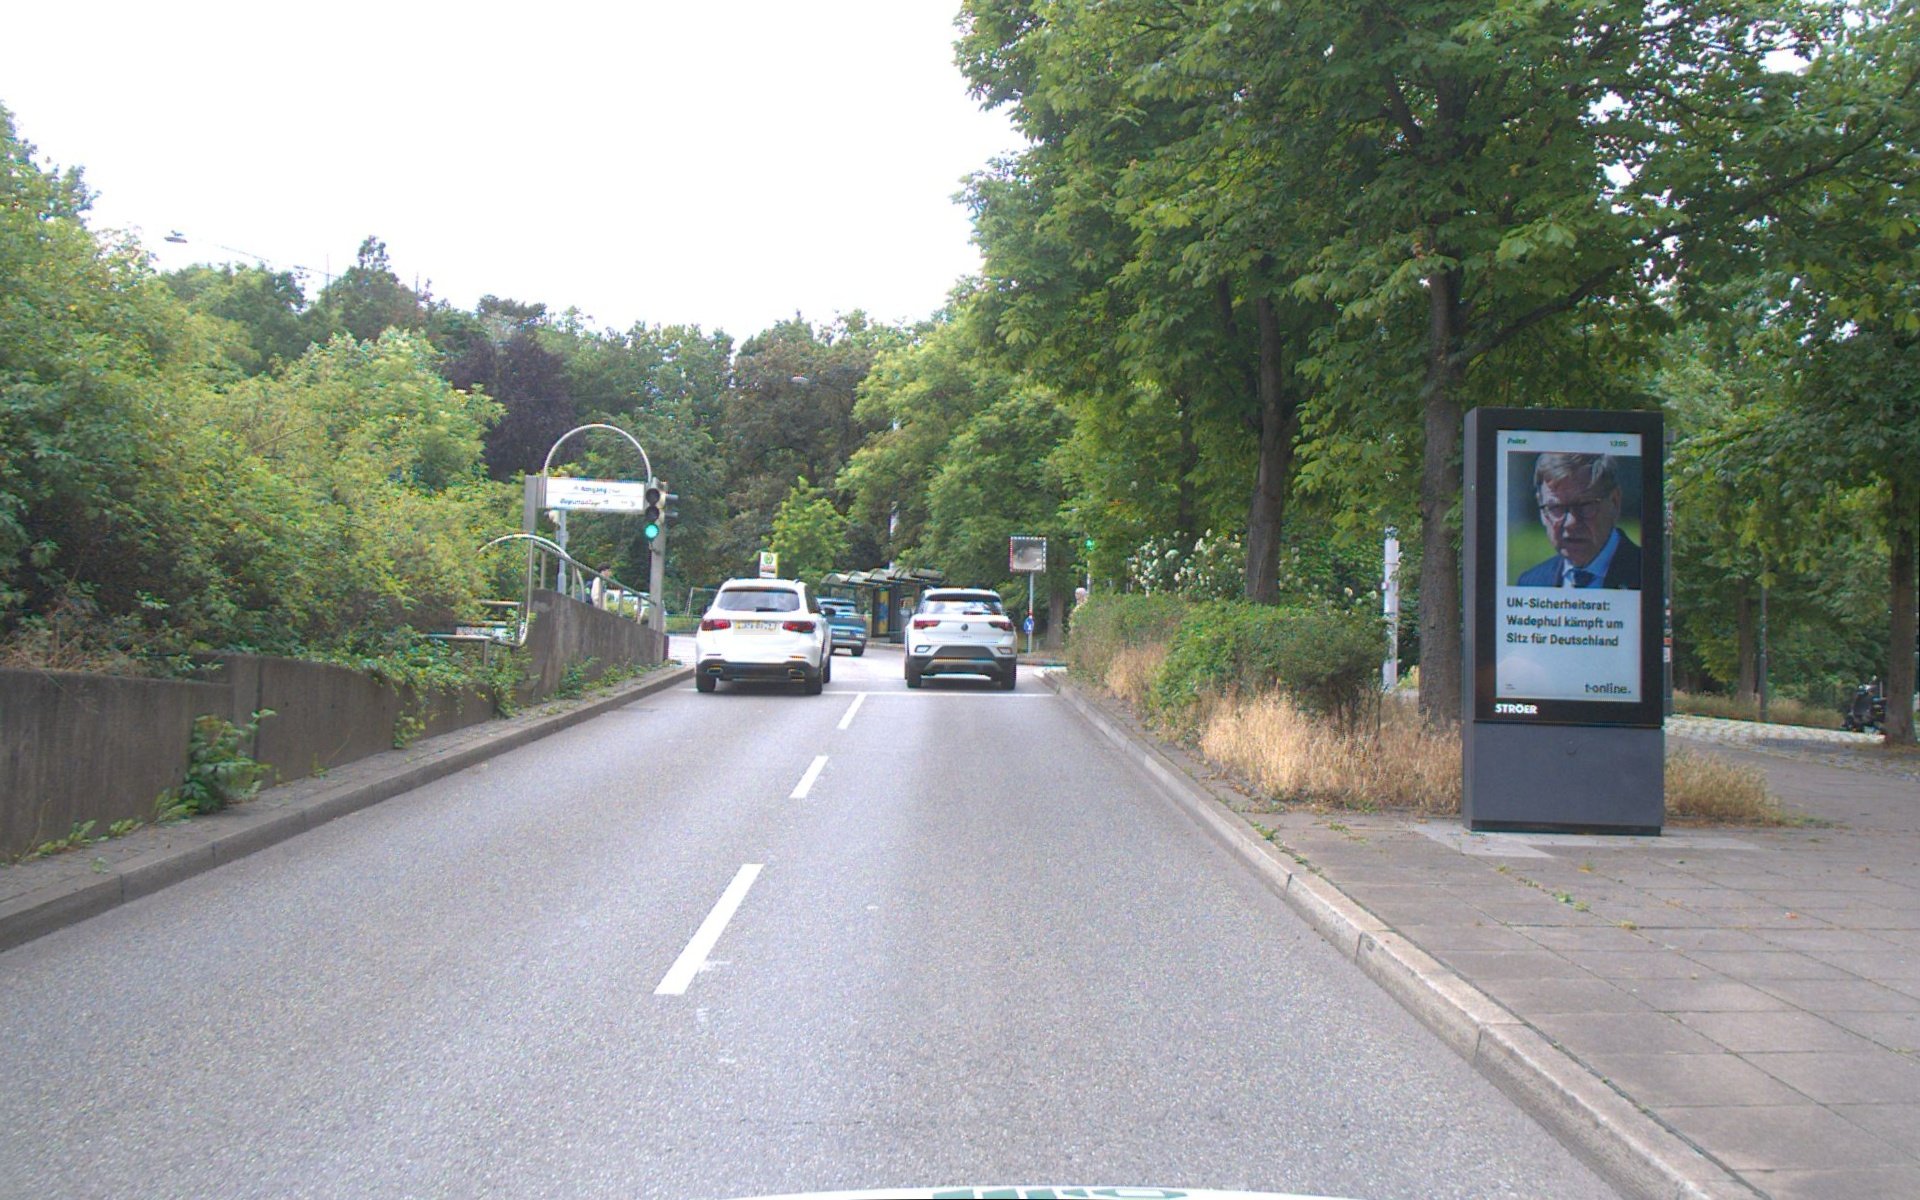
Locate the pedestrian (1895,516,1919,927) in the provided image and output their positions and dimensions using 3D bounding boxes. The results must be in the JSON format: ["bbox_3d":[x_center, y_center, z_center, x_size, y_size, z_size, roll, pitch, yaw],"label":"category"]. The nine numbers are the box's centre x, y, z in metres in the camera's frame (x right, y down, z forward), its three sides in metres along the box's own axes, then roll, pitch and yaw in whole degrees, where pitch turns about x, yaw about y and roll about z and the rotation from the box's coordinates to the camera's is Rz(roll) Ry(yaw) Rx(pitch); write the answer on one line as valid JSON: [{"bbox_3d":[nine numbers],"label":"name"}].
[{"bbox_3d":[4.536,0.515,6.849,0.819,1.742,0.818,0,-1,-15],"label":"pedestrian"}]

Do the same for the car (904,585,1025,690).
[{"bbox_3d":[0.076,0.590,27.246,1.826,1.583,3.894,1,0,0],"label":"car"}]

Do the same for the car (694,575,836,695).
[{"bbox_3d":[-2.890,0.495,25.315,1.839,1.681,4.339,0,0,-3],"label":"car"}]

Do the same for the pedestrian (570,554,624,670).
[{"bbox_3d":[-6.011,0.192,27.417,0.690,1.893,0.614,1,0,5],"label":"pedestrian"}]

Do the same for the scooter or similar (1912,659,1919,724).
[{"bbox_3d":[18.798,1.785,31.953,0.453,1.270,1.320,3,-2,21],"label":"scooter or similar"}]

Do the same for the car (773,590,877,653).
[{"bbox_3d":[-3.837,0.586,46.406,1.834,1.660,3.934,2,-1,-21],"label":"car"}]

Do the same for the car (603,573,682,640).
[{"bbox_3d":[-9.815,0.183,50.978,1.961,1.914,3.982,3,0,-16],"label":"car"}]

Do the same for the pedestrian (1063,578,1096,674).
[{"bbox_3d":[2.189,0.475,30.324,0.602,1.742,0.727,0,-1,3],"label":"pedestrian"}]
